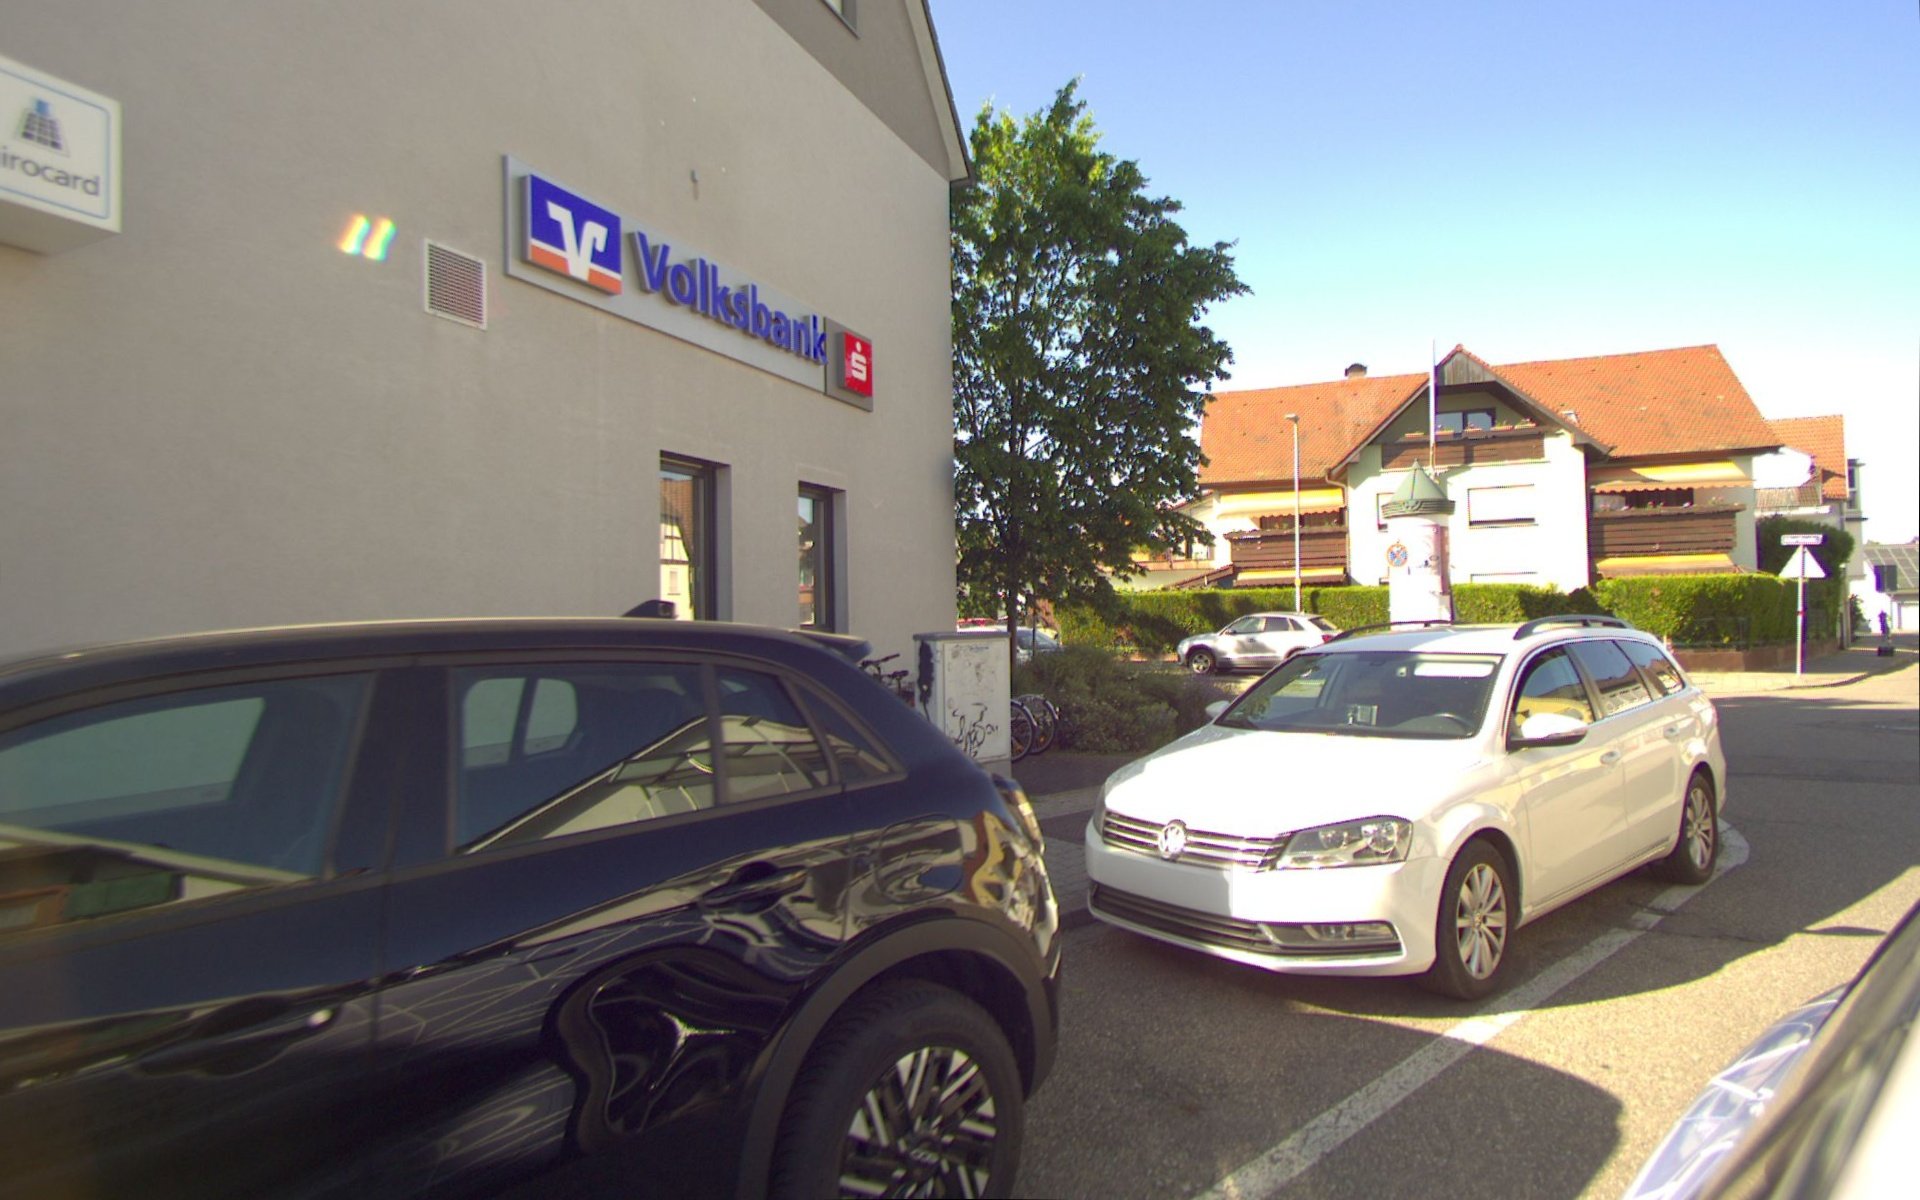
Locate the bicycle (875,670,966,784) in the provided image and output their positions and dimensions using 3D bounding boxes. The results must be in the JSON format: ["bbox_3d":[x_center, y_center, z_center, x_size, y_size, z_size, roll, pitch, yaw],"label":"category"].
[{"bbox_3d":[-0.386,1.142,9.351,0.307,0.932,1.167,1,-2,-32],"label":"bicycle"}]

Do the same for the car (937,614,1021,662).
[{"bbox_3d":[0.727,1.288,35.687,1.679,1.518,3.695,-1,0,23],"label":"car"}]

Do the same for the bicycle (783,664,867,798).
[{"bbox_3d":[-1.146,1.051,8.444,0.313,0.988,1.227,0,-2,-26],"label":"bicycle"}]

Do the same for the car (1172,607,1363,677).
[{"bbox_3d":[7.745,1.025,25.630,4.277,1.613,1.791,-1,0,36],"label":"car"}]

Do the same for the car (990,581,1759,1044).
[{"bbox_3d":[2.461,0.748,5.467,4.423,1.533,1.850,1,-2,-38],"label":"car"}]

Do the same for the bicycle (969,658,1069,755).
[{"bbox_3d":[0.606,1.092,10.623,0.308,0.932,1.164,1,-2,-42],"label":"bicycle"}]

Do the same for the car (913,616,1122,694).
[{"bbox_3d":[1.156,1.123,21.726,4.284,1.513,1.788,-1,-2,41],"label":"car"}]

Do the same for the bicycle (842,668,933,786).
[{"bbox_3d":[-0.673,1.104,9.078,0.307,0.932,1.167,1,-2,-32],"label":"bicycle"}]

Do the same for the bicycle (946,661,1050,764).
[{"bbox_3d":[0.361,1.097,10.116,0.308,0.932,1.164,1,-2,-42],"label":"bicycle"}]

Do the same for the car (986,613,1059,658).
[{"bbox_3d":[2.490,1.330,39.379,1.679,1.589,3.695,-1,0,23],"label":"car"}]

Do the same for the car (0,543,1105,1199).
[{"bbox_3d":[-1.655,0.743,1.857,3.902,1.541,1.612,1,-4,-41],"label":"car"}]
